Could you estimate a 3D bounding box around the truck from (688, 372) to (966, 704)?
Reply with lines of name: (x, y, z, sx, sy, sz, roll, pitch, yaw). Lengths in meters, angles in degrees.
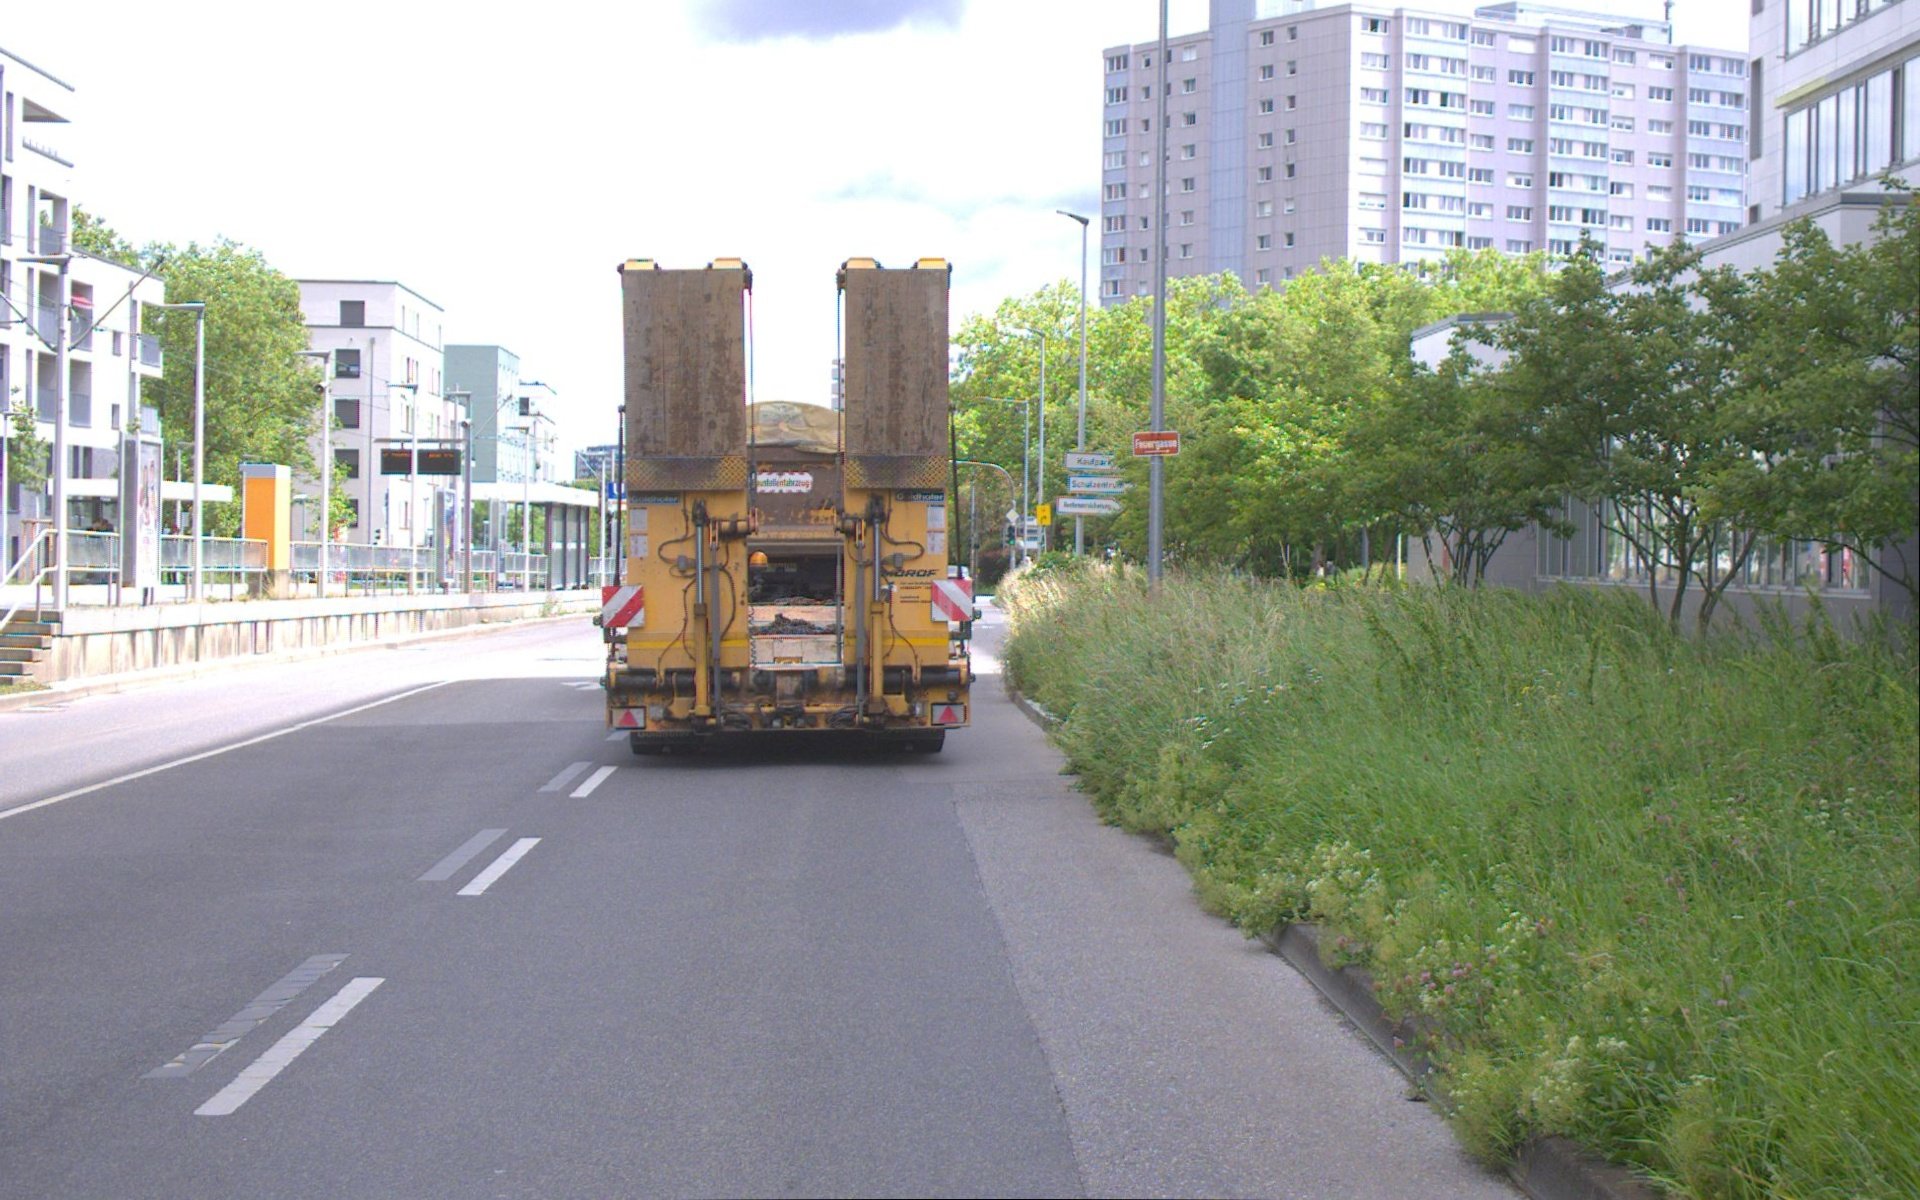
truck: (-1.391, -0.669, 38.771, 2.753, 3.302, 8.352, 1, 1, -1)

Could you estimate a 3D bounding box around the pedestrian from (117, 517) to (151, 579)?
pedestrian: (-21.498, -1.355, 89.465, 0.488, 1.591, 0.676, 1, 0, 34)

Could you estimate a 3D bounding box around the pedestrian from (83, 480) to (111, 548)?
pedestrian: (-22.044, -2.201, 87.806, 0.487, 1.719, 0.677, 1, 0, -35)

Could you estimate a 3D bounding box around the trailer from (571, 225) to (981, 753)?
trailer: (-1.297, -0.810, 28.942, 2.729, 3.546, 11.254, 1, 1, -1)

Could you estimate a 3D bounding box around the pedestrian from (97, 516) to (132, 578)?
pedestrian: (-21.713, -1.365, 88.289, 0.488, 1.591, 0.676, 1, 1, 43)
